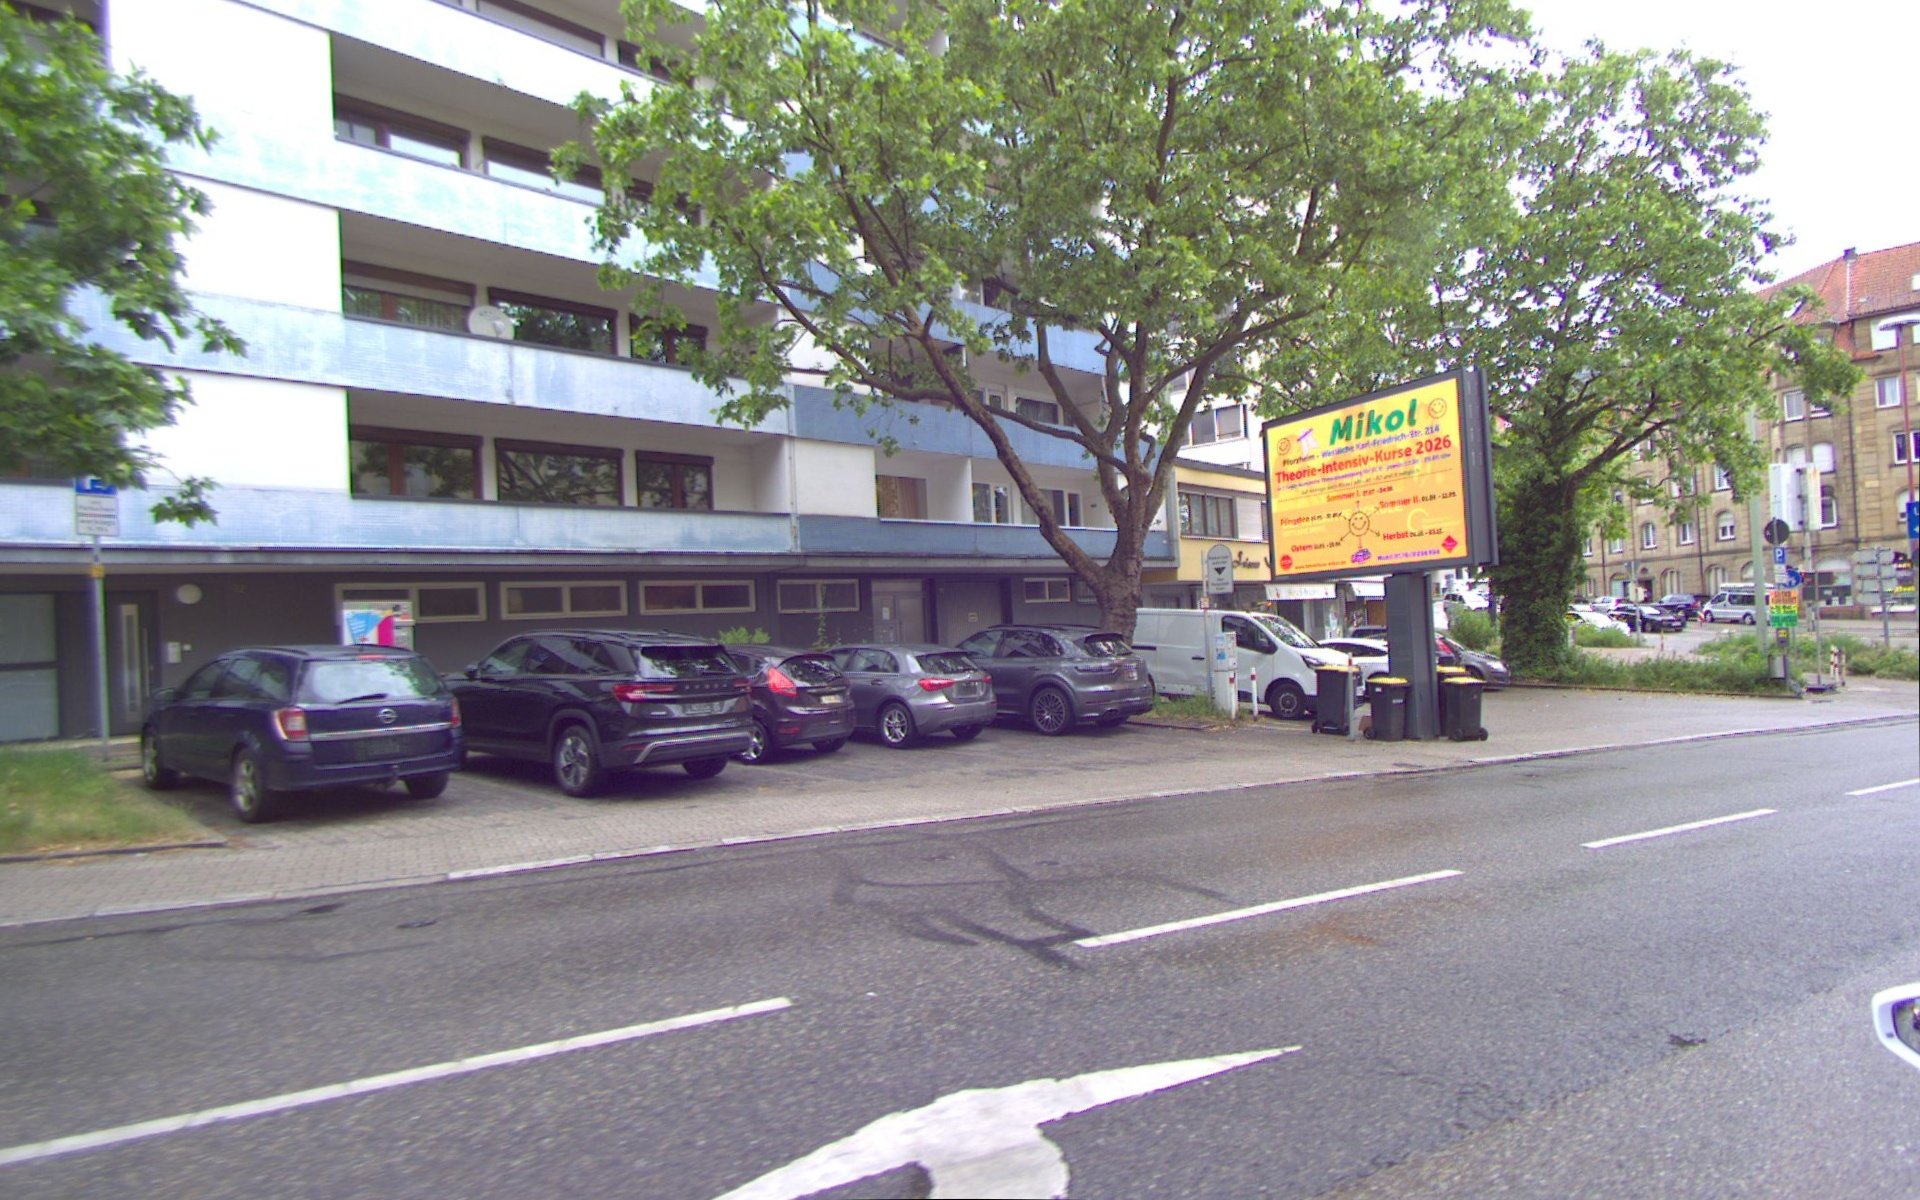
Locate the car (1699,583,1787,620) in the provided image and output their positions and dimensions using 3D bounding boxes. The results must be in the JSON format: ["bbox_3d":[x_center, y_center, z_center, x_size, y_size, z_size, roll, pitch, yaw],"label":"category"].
[{"bbox_3d":[47.316,0.039,60.793,1.961,2.130,4.291,-1,1,-1],"label":"car"}]

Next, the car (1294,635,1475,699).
[{"bbox_3d":[10.766,1.639,25.587,3.926,1.469,1.761,-1,-2,40],"label":"car"}]

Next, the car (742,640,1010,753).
[{"bbox_3d":[-1.328,1.361,15.199,3.870,1.449,1.742,-1,-2,36],"label":"car"}]

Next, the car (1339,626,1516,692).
[{"bbox_3d":[12.624,1.542,27.230,4.072,1.675,1.762,-1,-2,38],"label":"car"}]

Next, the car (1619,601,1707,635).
[{"bbox_3d":[38.452,0.971,55.089,1.960,1.749,4.250,-1,0,2],"label":"car"}]

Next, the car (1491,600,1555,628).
[{"bbox_3d":[38.473,0.942,68.794,1.961,1.749,4.250,-2,0,0],"label":"car"}]

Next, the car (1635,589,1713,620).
[{"bbox_3d":[46.666,0.267,65.765,1.961,1.863,4.291,-1,1,-1],"label":"car"}]

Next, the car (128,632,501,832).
[{"bbox_3d":[-6.713,1.143,10.276,4.303,1.595,1.935,-1,-2,39],"label":"car"}]

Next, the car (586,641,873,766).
[{"bbox_3d":[-3.236,1.305,13.805,3.929,1.449,1.692,-1,-2,36],"label":"car"}]

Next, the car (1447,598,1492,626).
[{"bbox_3d":[38.451,0.895,75.869,1.545,2.040,4.001,0,-1,2],"label":"car"}]

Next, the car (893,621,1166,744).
[{"bbox_3d":[1.090,1.271,16.901,4.305,1.807,1.930,-1,-2,40],"label":"car"}]

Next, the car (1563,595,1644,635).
[{"bbox_3d":[34.287,0.828,53.621,1.841,2.040,4.002,0,-2,2],"label":"car"}]

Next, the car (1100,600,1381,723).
[{"bbox_3d":[5.405,1.131,19.782,5.001,2.133,1.983,-1,-2,41],"label":"car"}]

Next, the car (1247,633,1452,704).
[{"bbox_3d":[9.039,1.534,23.481,4.122,1.475,1.786,-1,-2,40],"label":"car"}]

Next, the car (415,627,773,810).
[{"bbox_3d":[-4.264,1.160,11.403,4.312,1.694,1.847,-1,-2,39],"label":"car"}]

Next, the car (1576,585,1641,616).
[{"bbox_3d":[47.095,-0.011,73.045,1.961,2.130,4.291,-1,1,-1],"label":"car"}]
